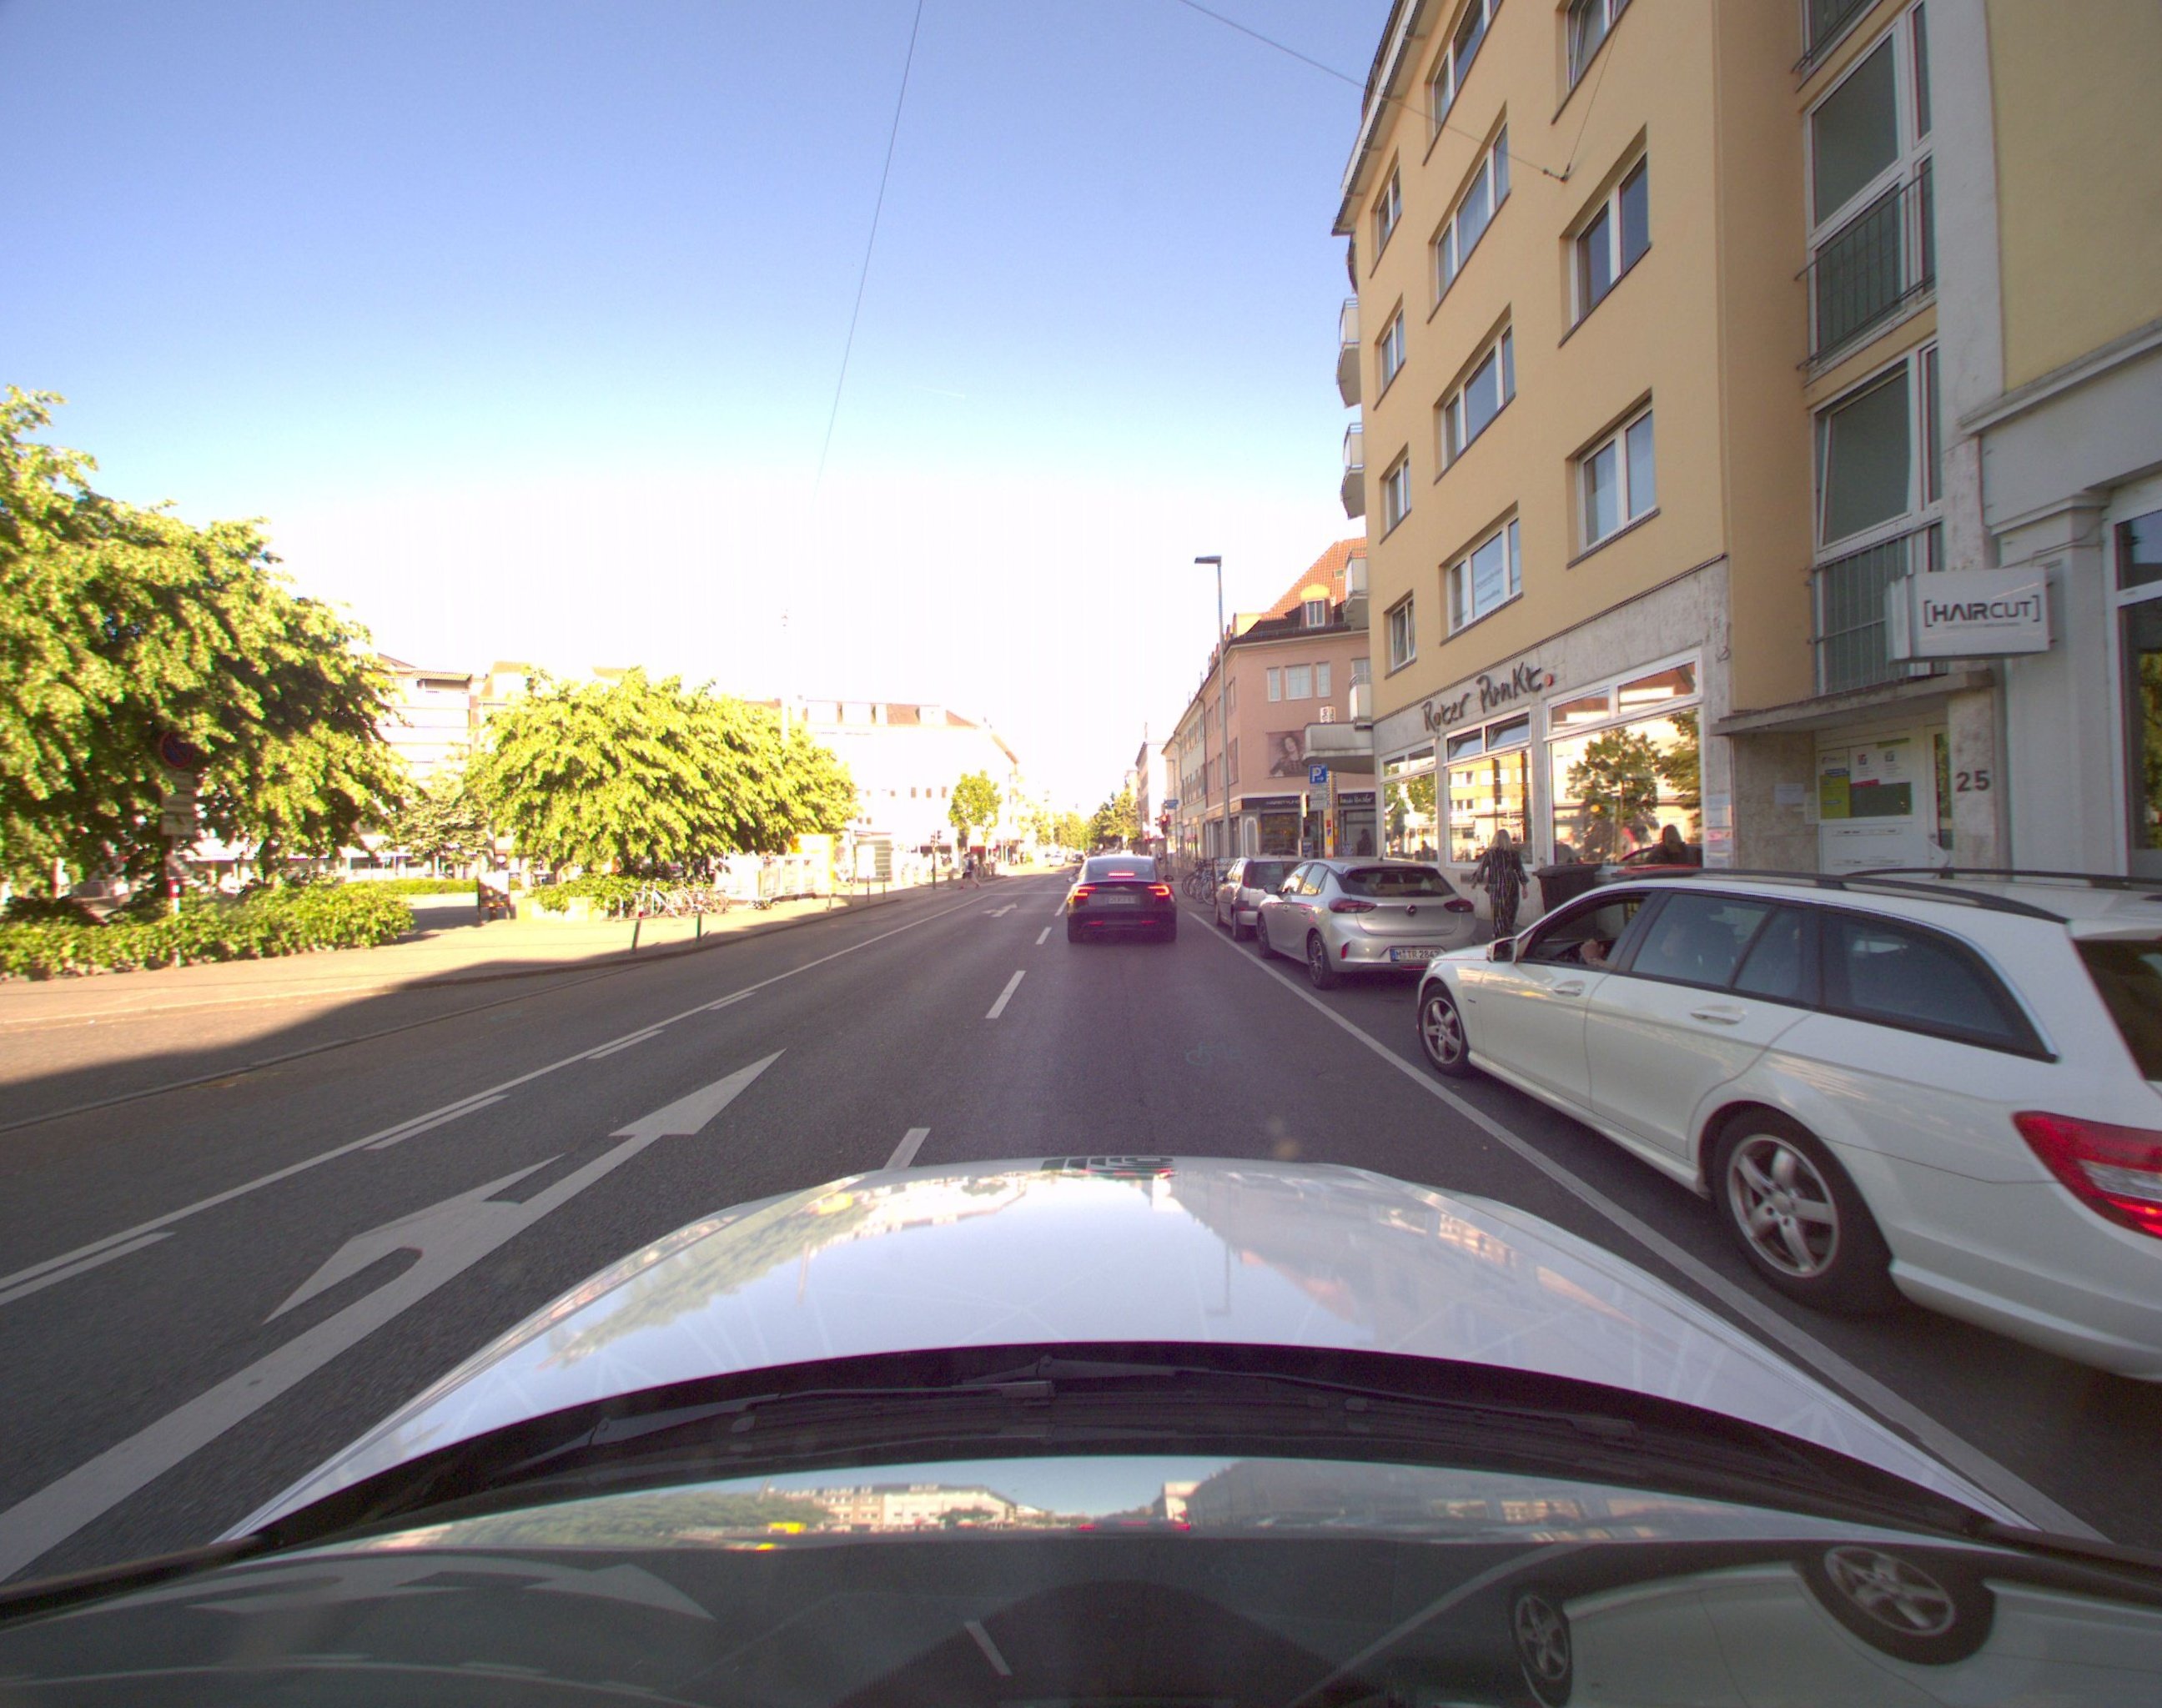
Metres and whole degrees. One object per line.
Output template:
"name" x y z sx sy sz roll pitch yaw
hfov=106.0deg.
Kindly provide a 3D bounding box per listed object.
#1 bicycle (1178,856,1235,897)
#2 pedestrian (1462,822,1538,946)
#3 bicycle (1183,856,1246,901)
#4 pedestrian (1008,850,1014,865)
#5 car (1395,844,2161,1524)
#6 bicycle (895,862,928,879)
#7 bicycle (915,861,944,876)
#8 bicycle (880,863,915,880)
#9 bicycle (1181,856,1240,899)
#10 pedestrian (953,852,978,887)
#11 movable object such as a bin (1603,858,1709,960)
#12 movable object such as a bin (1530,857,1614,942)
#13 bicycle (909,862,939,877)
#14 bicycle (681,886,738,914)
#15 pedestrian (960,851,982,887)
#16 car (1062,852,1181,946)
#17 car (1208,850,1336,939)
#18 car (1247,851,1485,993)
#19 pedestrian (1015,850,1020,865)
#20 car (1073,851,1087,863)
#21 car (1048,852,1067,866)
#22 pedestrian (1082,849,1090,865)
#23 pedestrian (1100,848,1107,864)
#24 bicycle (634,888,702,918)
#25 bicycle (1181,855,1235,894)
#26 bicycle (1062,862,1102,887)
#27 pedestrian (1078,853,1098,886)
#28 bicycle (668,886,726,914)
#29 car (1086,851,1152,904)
"bicycle" 3.853 0.678 25.073 1.622 1.160 0.433 -3 0 0
"pedestrian" 5.791 0.411 11.292 0.659 1.633 0.629 -4 -1 6
"bicycle" 3.714 0.682 22.668 1.622 1.160 0.433 -3 0 0
"pedestrian" -9.624 0.496 111.974 0.623 2.013 0.707 -1 0 2
"car" 3.223 0.698 3.951 1.732 1.447 4.465 -1 0 1
"bicycle" -11.859 1.142 57.071 2.074 1.104 0.806 -1 0 1
"bicycle" -11.918 1.121 64.048 2.074 1.104 0.806 -1 0 1
"bicycle" -12.286 1.162 54.561 2.074 1.104 0.806 -1 0 1
"bicycle" 3.792 0.684 23.877 1.622 1.160 0.433 -3 0 0
"pedestrian" -5.565 0.751 39.303 0.981 1.636 0.738 -1 0 5
"movable object such as a bin" 6.542 0.608 9.296 0.700 1.067 0.620 -4 0 1
"movable object such as a bin" 6.678 0.609 11.099 0.700 1.067 0.620 -4 0 1
"bicycle" -11.885 1.160 61.851 2.074 1.104 0.806 -1 0 1
"bicycle" -10.821 1.332 23.744 1.466 0.769 0.475 -1 0 4
"pedestrian" -5.401 0.745 39.936 0.896 1.725 0.745 -1 0 5
"car" 0.735 0.706 14.681 1.842 1.455 3.789 -1 0 3
"car" 3.354 0.646 14.980 1.615 1.394 3.889 -1 0 3
"car" 3.324 0.689 10.343 1.664 1.427 4.078 -1 0 1
"pedestrian" -8.747 0.488 112.021 0.623 2.013 0.575 -1 0 2
"car" -0.170 0.379 119.142 2.044 1.727 4.652 -1 0 -1
"car" -2.908 0.567 102.701 1.986 1.541 4.002 -5 0 2
"pedestrian" 0.648 0.405 104.523 0.754 2.013 0.792 -1 0 -24
"pedestrian" 2.803 0.268 102.552 0.620 2.013 0.562 -1 0 26
"bicycle" -11.046 1.299 21.790 1.645 0.769 0.476 -1 0 10
"bicycle" 4.062 0.661 26.150 1.621 1.160 0.433 -3 0 2
"bicycle" 0.032 0.859 34.936 1.605 1.045 0.592 -1 0 10
"pedestrian" 0.305 0.662 35.338 0.738 1.440 0.584 -1 0 11
"bicycle" -10.941 1.317 23.190 1.465 0.769 0.442 -1 0 6
"car" 1.161 0.667 24.840 1.842 1.455 3.789 -1 0 3
